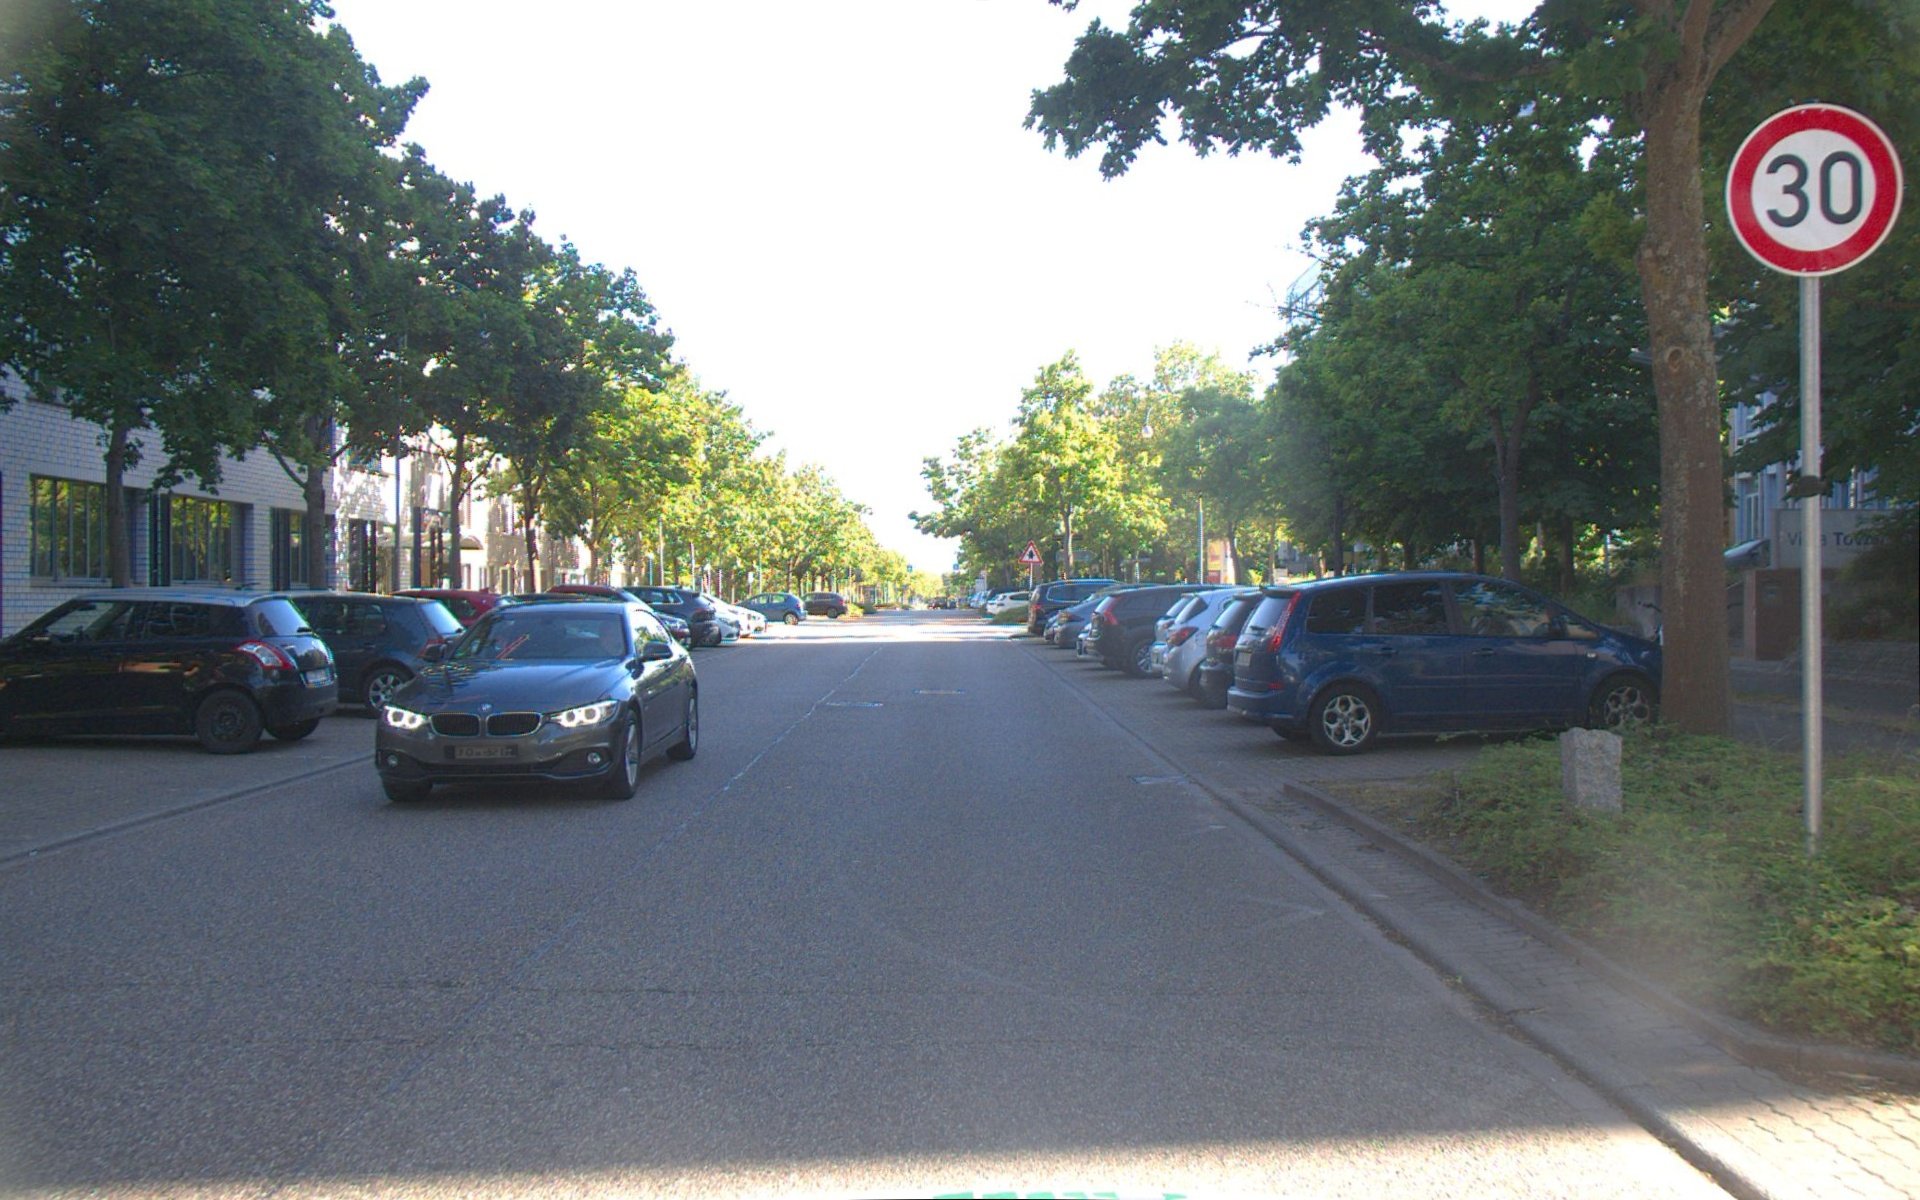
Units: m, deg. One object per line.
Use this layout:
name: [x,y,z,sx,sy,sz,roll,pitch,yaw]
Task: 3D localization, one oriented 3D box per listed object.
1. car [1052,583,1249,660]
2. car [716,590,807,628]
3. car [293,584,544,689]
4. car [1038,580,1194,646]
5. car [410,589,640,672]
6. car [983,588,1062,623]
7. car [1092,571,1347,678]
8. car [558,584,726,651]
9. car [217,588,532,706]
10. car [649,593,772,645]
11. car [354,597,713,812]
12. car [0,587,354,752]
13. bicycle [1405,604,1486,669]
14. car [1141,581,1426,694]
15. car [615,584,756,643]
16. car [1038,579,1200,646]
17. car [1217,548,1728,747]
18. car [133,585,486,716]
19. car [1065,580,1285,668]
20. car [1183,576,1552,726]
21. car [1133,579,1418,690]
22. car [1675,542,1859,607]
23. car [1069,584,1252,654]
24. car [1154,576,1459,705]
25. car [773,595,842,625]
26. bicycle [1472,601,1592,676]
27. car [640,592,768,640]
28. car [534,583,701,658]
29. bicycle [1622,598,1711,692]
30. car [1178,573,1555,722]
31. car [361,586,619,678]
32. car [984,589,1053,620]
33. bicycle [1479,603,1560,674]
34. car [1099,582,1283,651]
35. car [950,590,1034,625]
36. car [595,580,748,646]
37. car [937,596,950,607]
car: [4.053,0.438,35.440,3.964,1.517,1.549,-1,0,-4]
car: [-8.678,0.379,72.492,3.909,1.559,1.616,-1,1,-5]
car: [-8.286,0.541,25.525,3.352,1.488,1.694,1,1,-6]
car: [4.061,0.341,43.387,3.817,1.685,1.856,0,0,-6]
car: [-8.108,0.560,31.060,3.909,1.431,1.604,1,-1,-5]
car: [3.283,0.286,87.282,3.910,1.824,1.998,0,0,-6]
car: [4.418,0.412,28.673,4.160,1.581,1.921,-3,0,4]
car: [-8.103,0.456,42.404,3.904,1.614,1.765,-1,-1,2]
car: [-8.119,0.635,23.193,3.789,1.482,1.753,1,1,-4]
car: [-7.933,0.589,52.953,3.818,1.640,1.855,0,0,-7]
car: [-3.192,0.704,13.253,1.776,1.440,4.107,0,0,0]
car: [-7.954,0.629,15.864,3.657,1.489,1.676,0,0,-2]
bicycle: [8.554,0.628,29.189,0.373,1.097,1.776,0,0,-21]
car: [4.625,0.524,23.978,3.678,1.474,1.878,-2,0,-4]
car: [-8.293,0.411,50.139,3.904,1.683,1.861,-1,0,2]
car: [4.110,0.314,43.184,3.964,1.609,1.640,-2,0,-4]
car: [4.687,0.415,15.532,4.183,1.662,1.857,-1,0,-3]
car: [-7.982,0.603,20.516,3.685,1.470,1.631,1,-1,-1]
car: [4.114,0.447,31.923,3.968,1.619,1.547,0,0,-8]
car: [4.486,0.547,18.629,3.663,1.492,1.910,-2,0,0]
car: [4.553,0.483,24.328,3.787,1.493,1.966,-1,0,-1]
car: [22.674,-0.696,46.557,4.216,1.701,1.998,1,-1,-5]
car: [4.616,0.426,38.304,3.964,1.479,1.518,-2,0,-4]
car: [4.406,0.501,21.375,3.562,1.492,1.633,-2,0,-1]
car: [-8.942,0.590,97.329,3.906,1.713,1.999,-1,0,-1]
bicycle: [8.701,0.569,25.210,0.377,1.097,1.760,0,0,-42]
car: [-8.202,0.515,53.212,3.907,1.507,1.679,0,0,-3]
car: [-7.844,0.475,38.106,3.468,1.686,1.761,0,-1,1]
bicycle: [8.453,0.515,19.847,0.371,1.065,1.886,-2,0,5]
car: [4.525,0.508,18.821,3.803,1.553,1.895,-1,0,-1]
car: [-7.924,0.531,28.154,3.907,1.437,1.665,1,-1,-3]
car: [3.513,0.249,99.481,3.910,1.824,1.998,0,0,-6]
bicycle: [8.939,0.596,26.489,0.372,1.097,1.782,0,0,-12]
car: [5.368,0.379,38.718,3.965,1.446,1.735,-2,0,-5]
car: [1.557,0.356,81.049,3.910,1.653,1.998,0,0,-6]
car: [-7.864,0.357,45.391,3.906,1.750,1.708,0,0,-2]
car: [-2.412,0.225,240.055,1.894,1.625,4.365,-1,0,-1]
